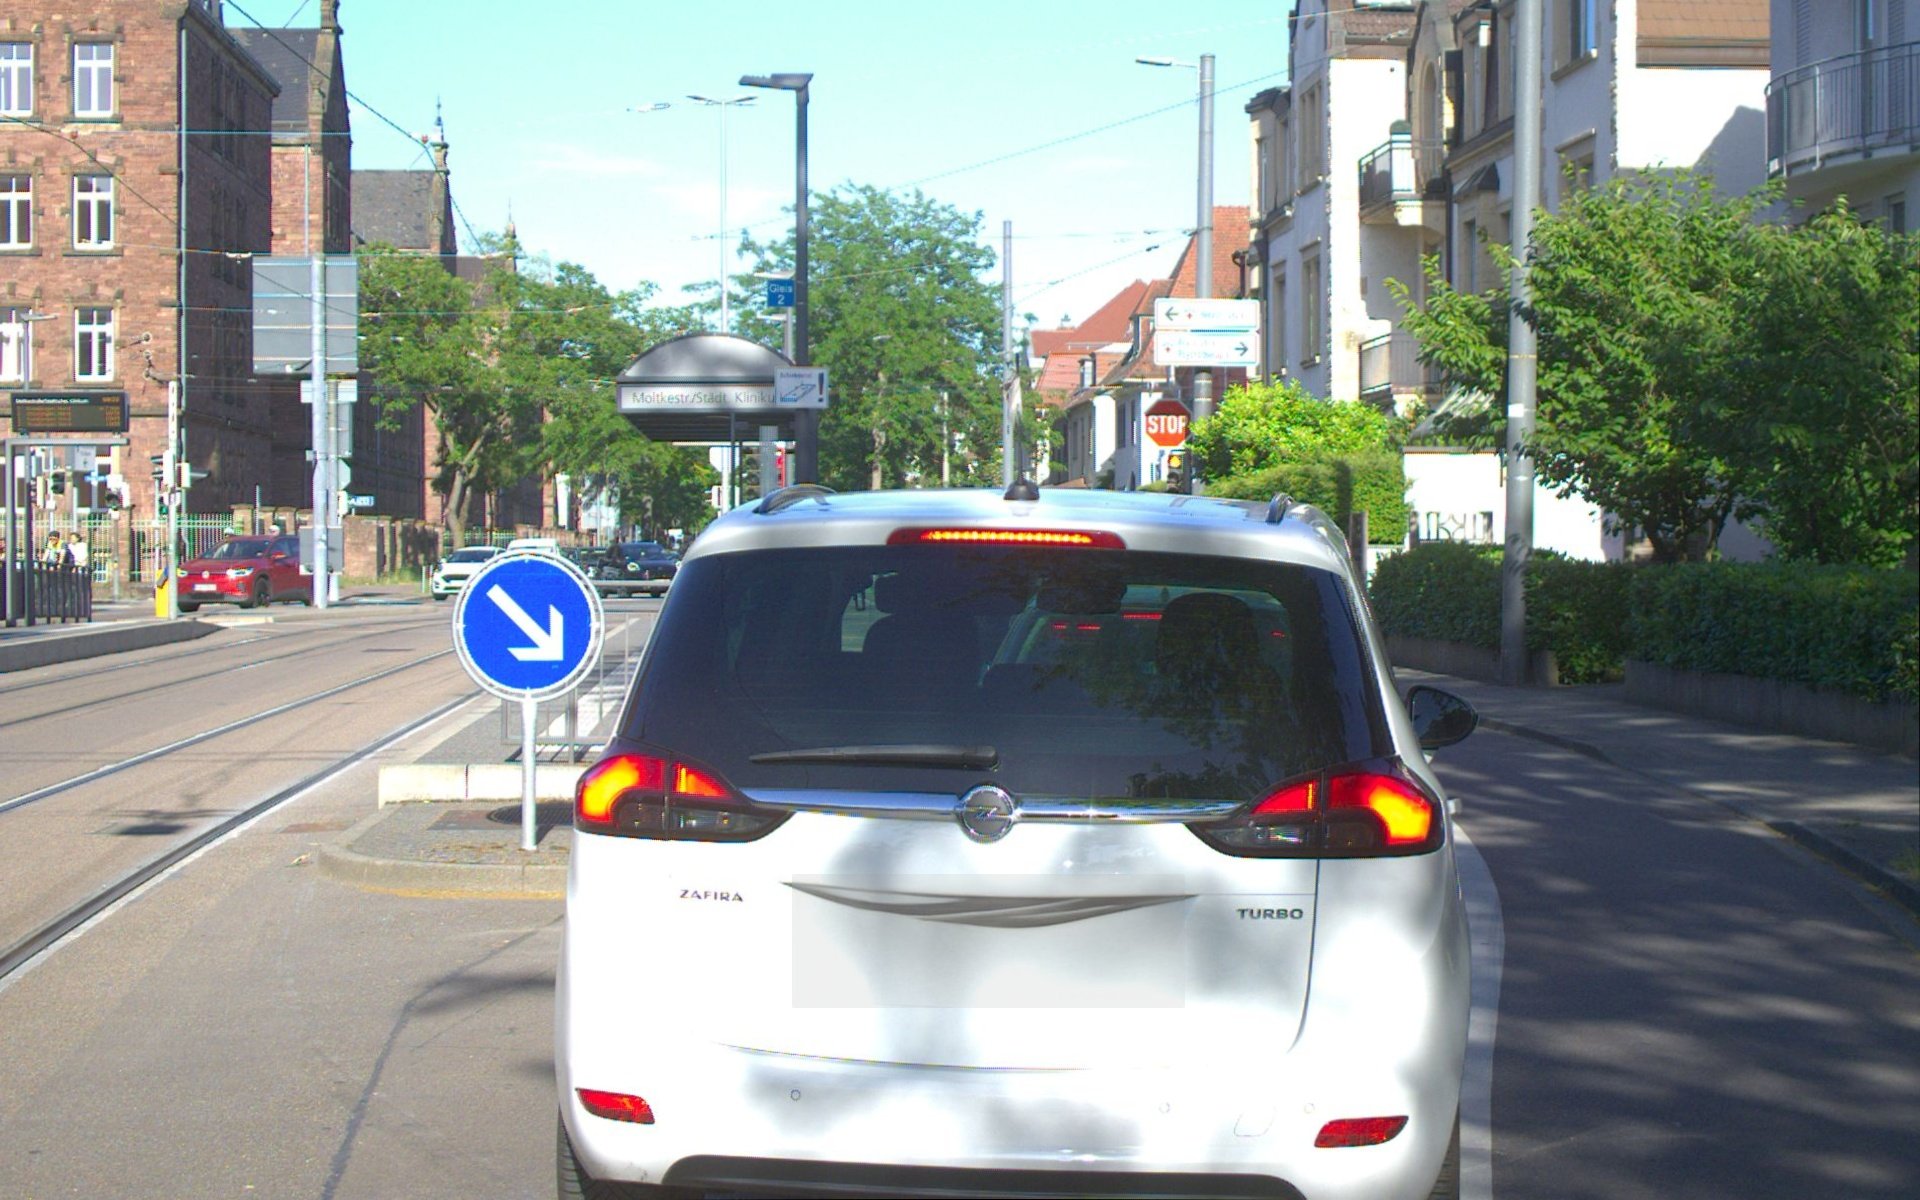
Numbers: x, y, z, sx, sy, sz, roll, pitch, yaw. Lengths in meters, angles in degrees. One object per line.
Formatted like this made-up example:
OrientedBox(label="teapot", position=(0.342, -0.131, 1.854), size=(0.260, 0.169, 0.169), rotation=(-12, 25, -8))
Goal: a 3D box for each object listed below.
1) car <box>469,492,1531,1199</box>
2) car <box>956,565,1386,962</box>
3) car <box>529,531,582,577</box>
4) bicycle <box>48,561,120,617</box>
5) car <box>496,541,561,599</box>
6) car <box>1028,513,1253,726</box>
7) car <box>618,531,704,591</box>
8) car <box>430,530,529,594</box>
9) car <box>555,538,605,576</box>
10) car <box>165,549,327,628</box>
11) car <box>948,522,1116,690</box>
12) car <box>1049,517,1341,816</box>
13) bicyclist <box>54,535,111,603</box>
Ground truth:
OrientedBox(label="car", position=(0.229, 0.568, 8.094), size=(1.878, 1.579, 3.999), rotation=(1, 1, 5))
OrientedBox(label="car", position=(0.951, 0.592, 14.786), size=(1.569, 1.396, 3.783), rotation=(2, 1, 5))
OrientedBox(label="car", position=(-14.767, -1.680, 125.725), size=(1.826, 1.611, 4.328), rotation=(0, 0, -5))
OrientedBox(label="bicycle", position=(-19.083, -0.230, 74.955), size=(0.815, 1.194, 1.952), rotation=(-1, 0, 9))
OrientedBox(label="car", position=(-13.512, -0.968, 107.802), size=(1.826, 1.782, 4.256), rotation=(0, 1, -4))
OrientedBox(label="car", position=(1.467, 0.122, 29.170), size=(1.596, 1.629, 3.901), rotation=(2, 1, -1))
OrientedBox(label="car", position=(-8.145, -1.079, 93.978), size=(1.993, 1.590, 4.000), rotation=(0, 1, 0))
OrientedBox(label="car", position=(-13.799, -1.104, 98.918), size=(1.699, 1.803, 3.999), rotation=(0, 1, 10))
OrientedBox(label="car", position=(-14.983, -1.684, 135.763), size=(1.826, 1.441, 4.328), rotation=(0, 0, -5))
OrientedBox(label="car", position=(-15.116, -0.274, 72.980), size=(1.819, 1.601, 4.357), rotation=(0, 1, 11))
OrientedBox(label="car", position=(0.714, 0.025, 36.401), size=(1.596, 1.629, 3.901), rotation=(2, 1, -1))
OrientedBox(label="car", position=(1.470, 0.333, 21.035), size=(1.569, 1.609, 3.783), rotation=(2, 1, 5))
OrientedBox(label="bicyclist", position=(-19.098, -0.672, 74.870), size=(0.757, 1.465, 1.190), rotation=(0, 0, 12))
